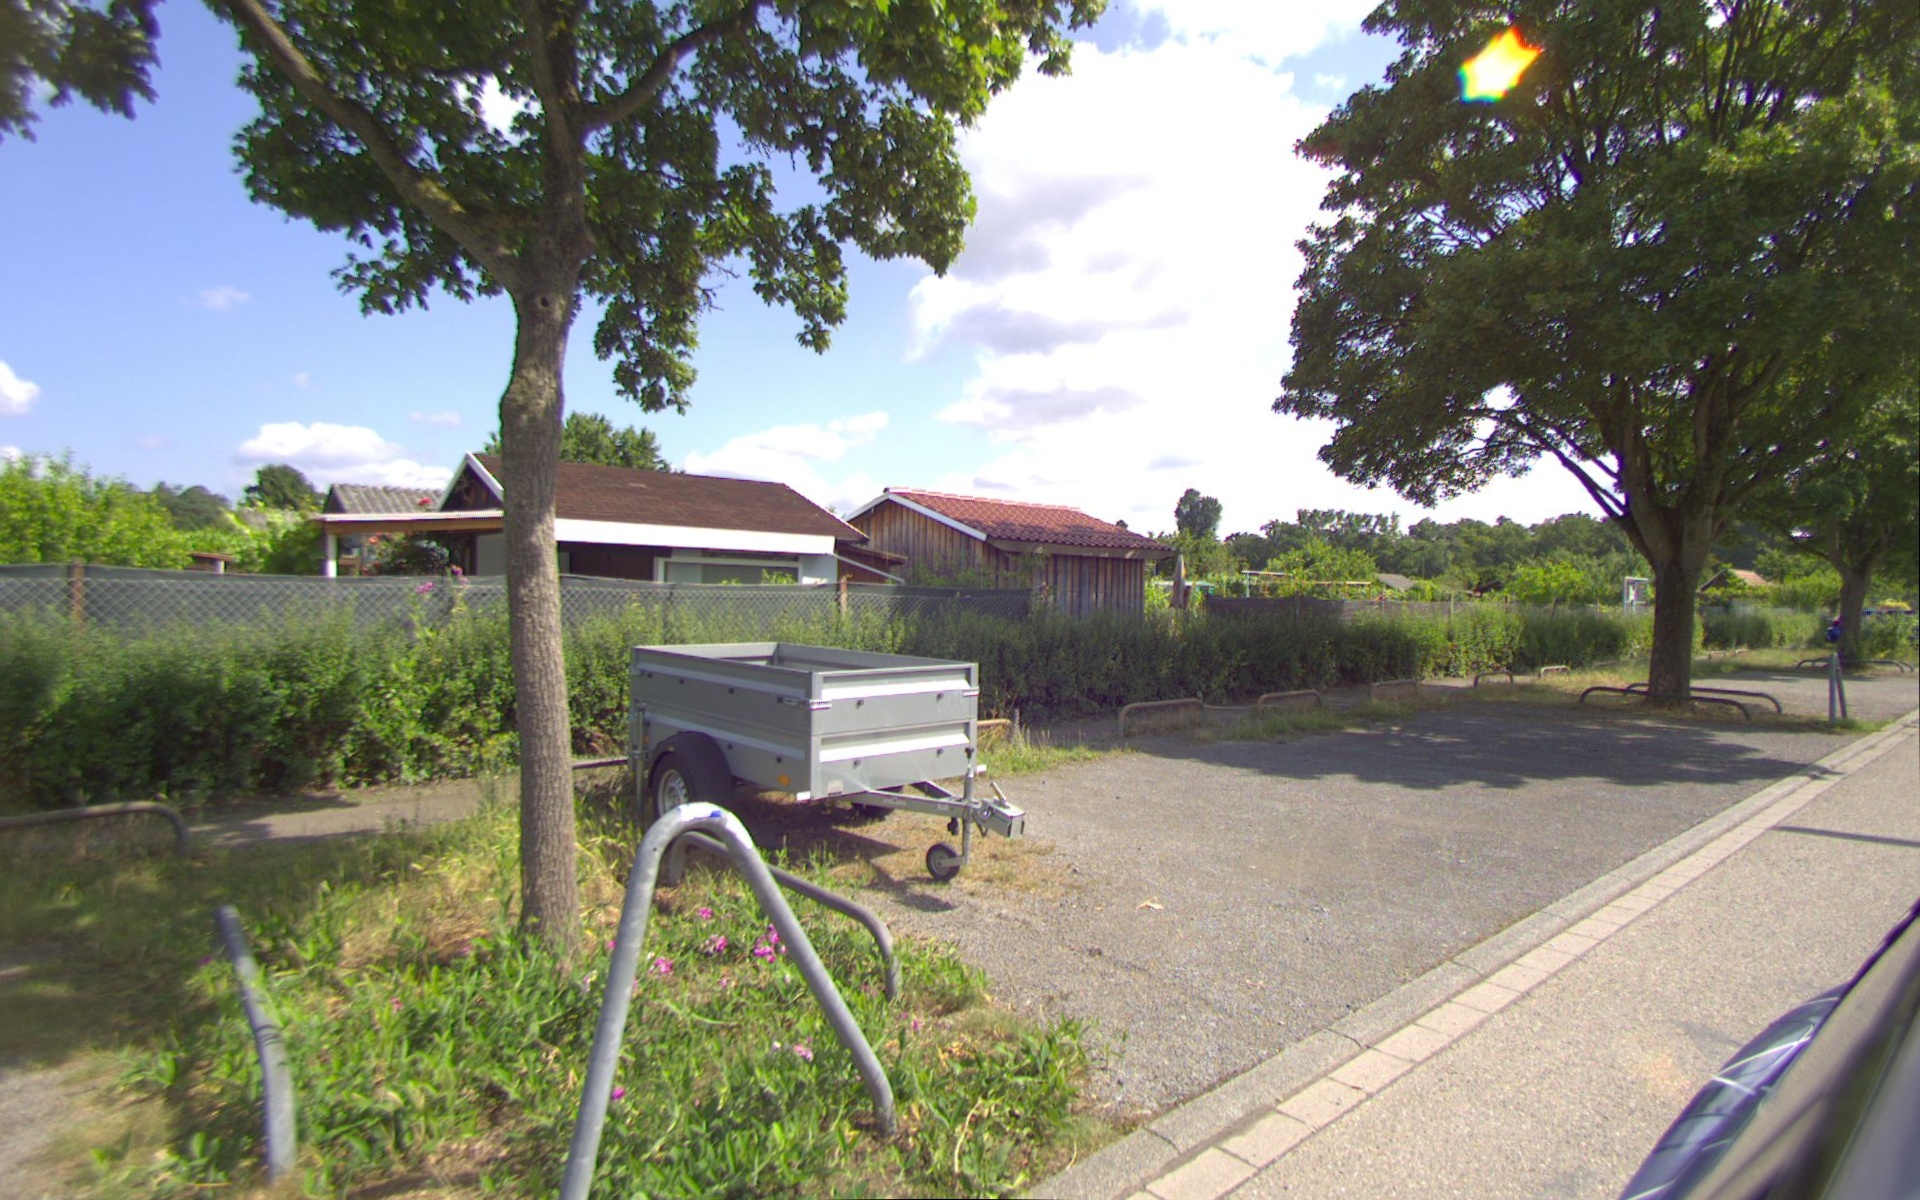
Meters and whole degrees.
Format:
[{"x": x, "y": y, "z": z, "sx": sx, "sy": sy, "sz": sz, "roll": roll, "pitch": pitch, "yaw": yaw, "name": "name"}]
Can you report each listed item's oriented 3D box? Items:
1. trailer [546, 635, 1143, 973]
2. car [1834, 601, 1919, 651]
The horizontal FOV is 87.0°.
[{"x": -0.814, "y": 0.839, "z": 5.685, "sx": 1.965, "sy": 1.157, "sz": 3.106, "roll": 0, "pitch": 0, "yaw": -40, "name": "trailer"}, {"x": 32.023, "y": 0.868, "z": 33.783, "sx": 1.750, "sy": 1.602, "sz": 4.111, "roll": 1, "pitch": 1, "yaw": -42, "name": "car"}]
